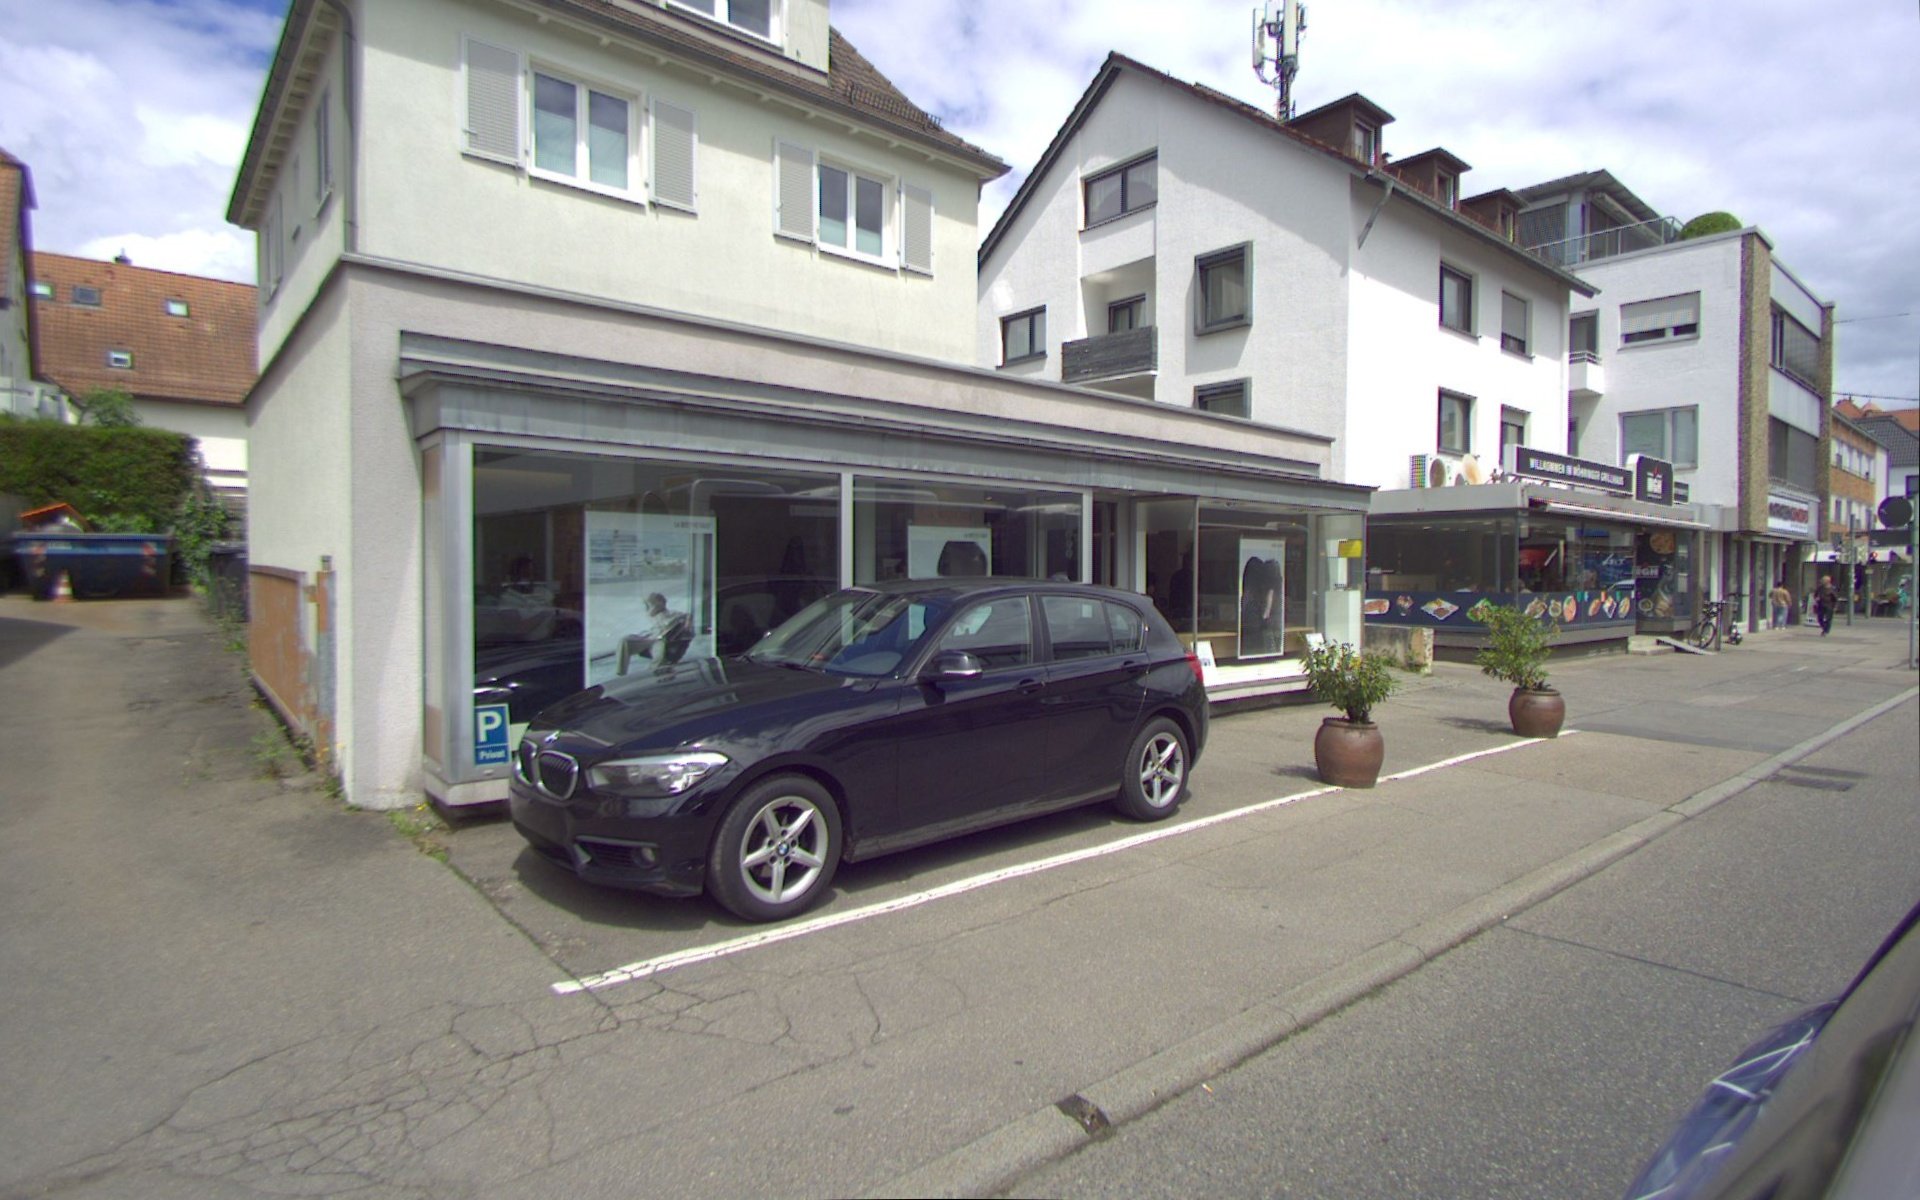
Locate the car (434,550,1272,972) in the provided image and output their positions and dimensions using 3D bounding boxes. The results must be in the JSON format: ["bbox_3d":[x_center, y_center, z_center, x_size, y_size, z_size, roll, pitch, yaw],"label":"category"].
[{"bbox_3d":[-0.290,0.502,5.756,4.459,1.465,1.971,-1,2,-43],"label":"car"}]

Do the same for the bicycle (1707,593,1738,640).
[{"bbox_3d":[17.785,0.366,23.604,0.474,1.040,1.612,2,2,40],"label":"bicycle"}]

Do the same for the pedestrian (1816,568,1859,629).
[{"bbox_3d":[25.107,-0.055,28.954,0.793,1.691,0.796,0,2,-41],"label":"pedestrian"}]

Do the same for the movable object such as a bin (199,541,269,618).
[{"bbox_3d":[-10.221,-0.302,14.247,0.751,1.031,0.609,-1,4,-41],"label":"movable object such as a bin"}]

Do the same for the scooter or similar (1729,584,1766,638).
[{"bbox_3d":[19.757,0.256,25.405,0.686,1.283,1.170,2,2,37],"label":"scooter or similar"}]

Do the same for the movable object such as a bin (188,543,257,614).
[{"bbox_3d":[-10.685,-0.327,14.665,0.751,0.981,0.609,-1,4,-41],"label":"movable object such as a bin"}]

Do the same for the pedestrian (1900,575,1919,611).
[{"bbox_3d":[42.113,-0.301,44.658,0.804,1.544,0.779,0,2,-38],"label":"pedestrian"}]

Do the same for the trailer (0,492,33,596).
[{"bbox_3d":[-15.354,-0.883,15.177,1.612,1.556,3.551,1,4,-34],"label":"trailer"}]

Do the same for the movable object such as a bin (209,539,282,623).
[{"bbox_3d":[-9.763,-0.276,13.827,0.751,1.096,0.609,-1,4,-41],"label":"movable object such as a bin"}]

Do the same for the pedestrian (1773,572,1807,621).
[{"bbox_3d":[26.125,-0.123,31.859,0.707,1.517,0.681,0,2,-41],"label":"pedestrian"}]
